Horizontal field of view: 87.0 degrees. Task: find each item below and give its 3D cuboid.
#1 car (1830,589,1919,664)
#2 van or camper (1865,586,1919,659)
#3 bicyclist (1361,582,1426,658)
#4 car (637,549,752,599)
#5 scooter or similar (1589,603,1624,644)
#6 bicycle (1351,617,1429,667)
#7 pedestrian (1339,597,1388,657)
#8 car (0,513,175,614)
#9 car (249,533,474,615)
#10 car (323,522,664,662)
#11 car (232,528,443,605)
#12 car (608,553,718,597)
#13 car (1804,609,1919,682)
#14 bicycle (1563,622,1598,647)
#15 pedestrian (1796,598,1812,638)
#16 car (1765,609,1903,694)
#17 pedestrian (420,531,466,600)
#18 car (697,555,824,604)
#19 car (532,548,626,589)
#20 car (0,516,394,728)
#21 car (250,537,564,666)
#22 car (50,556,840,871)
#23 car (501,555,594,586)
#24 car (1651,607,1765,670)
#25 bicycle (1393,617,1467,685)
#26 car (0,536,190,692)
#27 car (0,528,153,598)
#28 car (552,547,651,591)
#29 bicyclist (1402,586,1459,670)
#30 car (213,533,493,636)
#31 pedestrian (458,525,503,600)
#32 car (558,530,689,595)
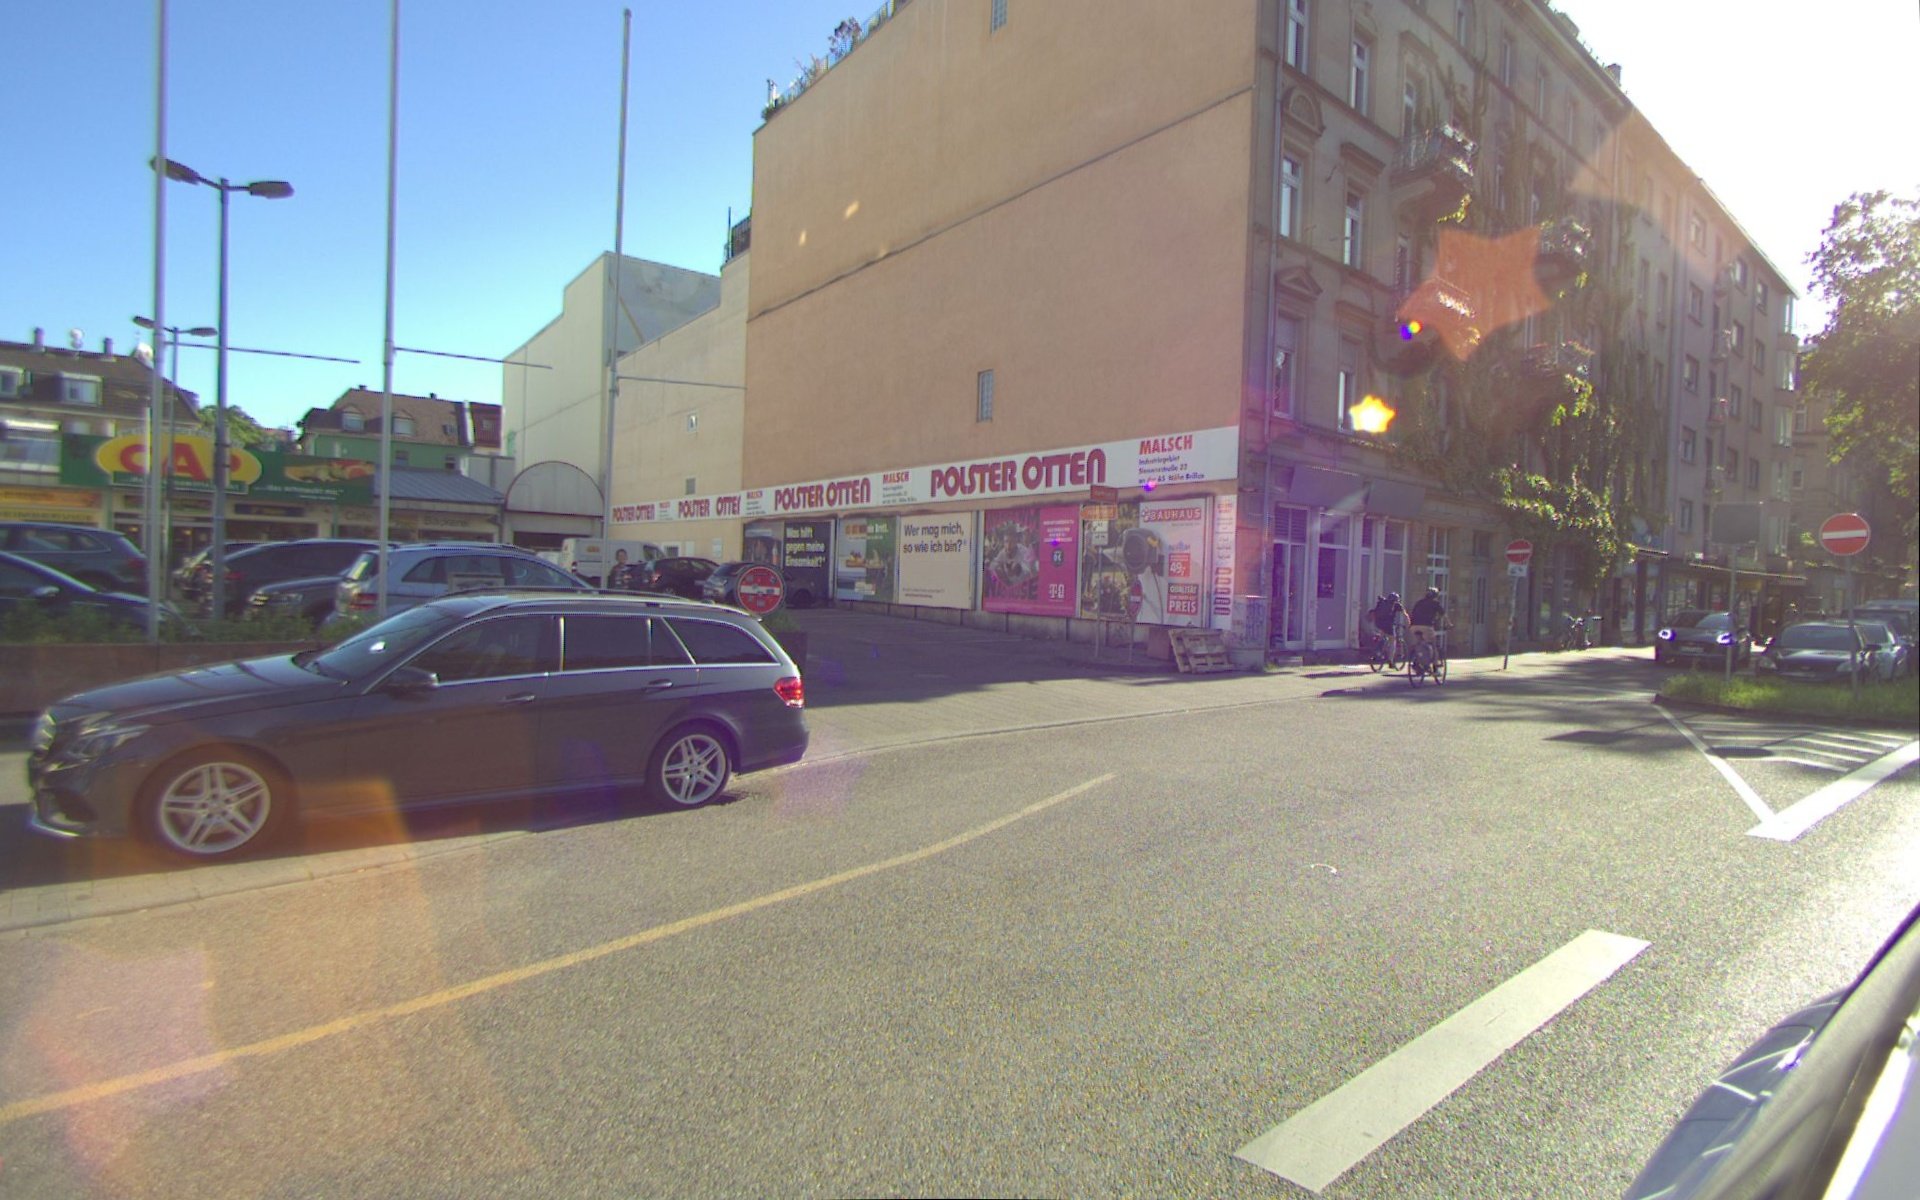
[{"bbox_3d":[24.570,0.660,26.665,3.929,1.786,1.868,1,1,-40],"label":"car"},{"bbox_3d":[28.690,0.662,30.201,5.006,2.038,1.887,1,1,-42],"label":"van or camper"},{"bbox_3d":[8.969,0.403,20.932,1.161,1.463,0.678,1,5,-40],"label":"bicyclist"},{"bbox_3d":[-9.374,-0.914,35.737,3.575,1.690,1.682,0,2,-35],"label":"car"},{"bbox_3d":[20.045,0.722,31.410,0.631,1.188,1.719,2,1,25],"label":"scooter or similar"},{"bbox_3d":[8.924,0.847,20.973,1.884,0.931,0.651,1,5,-40],"label":"bicycle"},{"bbox_3d":[9.063,0.600,22.737,0.701,1.276,0.717,1,3,-40],"label":"pedestrian"},{"bbox_3d":[-16.568,-0.648,17.778,4.305,1.687,1.758,1,2,-41],"label":"car"},{"bbox_3d":[-12.558,-0.516,21.367,3.870,1.563,1.544,1,2,-42],"label":"car"},{"bbox_3d":[-6.355,-0.113,14.048,3.934,1.665,1.746,0,2,-45],"label":"car"},{"bbox_3d":[-14.204,-0.725,23.195,3.870,1.601,1.659,1,2,-42],"label":"car"},{"bbox_3d":[-10.944,-0.922,37.370,3.575,1.552,1.682,0,2,-35],"label":"car"},{"bbox_3d":[20.783,0.968,23.178,3.932,1.537,1.740,1,-1,-43],"label":"car"},{"bbox_3d":[18.940,1.033,30.889,1.486,0.714,0.469,1,1,-41],"label":"bicycle"},{"bbox_3d":[39.156,0.829,46.958,0.507,1.856,0.469,1,1,-41],"label":"pedestrian"},{"bbox_3d":[17.533,0.956,20.250,3.932,1.537,1.642,1,-1,-43],"label":"car"},{"bbox_3d":[-13.873,-0.922,27.160,0.907,1.818,0.818,1,1,-40],"label":"pedestrian"},{"bbox_3d":[-6.289,-0.657,32.024,3.579,1.481,1.680,-1,2,-39],"label":"car"},{"bbox_3d":[-18.061,-1.481,48.007,3.966,1.759,1.664,1,1,-30],"label":"car"},{"bbox_3d":[-7.491,0.135,9.145,3.839,1.665,1.651,0,3,-45],"label":"car"},{"bbox_3d":[-8.427,-0.006,15.617,3.933,1.714,1.747,0,3,-44],"label":"car"},{"bbox_3d":[-3.350,0.566,7.282,4.649,1.505,1.838,1,4,-40],"label":"car"},{"bbox_3d":[-20.162,-1.431,49.522,3.922,1.371,1.760,1,1,-33],"label":"car"},{"bbox_3d":[20.675,1.003,27.911,4.305,1.547,1.700,1,0,-42],"label":"car"},{"bbox_3d":[8.595,0.894,18.461,0.755,1.116,1.926,3,1,39],"label":"bicycle"},{"bbox_3d":[-9.961,0.105,10.194,3.339,1.504,1.559,1,1,-45],"label":"car"},{"bbox_3d":[-21.595,-0.869,23.884,3.930,1.538,1.725,1,1,-41],"label":"car"},{"bbox_3d":[-16.220,-1.407,45.884,3.966,1.823,1.664,1,1,-30],"label":"car"},{"bbox_3d":[8.562,0.497,18.419,0.743,1.480,0.938,0,0,38],"label":"bicyclist"},{"bbox_3d":[-10.255,-0.256,17.265,3.870,1.563,1.544,1,2,-42],"label":"car"},{"bbox_3d":[-13.294,-1.031,28.073,0.907,2.039,0.818,1,1,-40],"label":"pedestrian"},{"bbox_3d":[-13.723,-1.494,41.367,4.785,2.442,1.713,1,1,-30],"label":"car"}]
